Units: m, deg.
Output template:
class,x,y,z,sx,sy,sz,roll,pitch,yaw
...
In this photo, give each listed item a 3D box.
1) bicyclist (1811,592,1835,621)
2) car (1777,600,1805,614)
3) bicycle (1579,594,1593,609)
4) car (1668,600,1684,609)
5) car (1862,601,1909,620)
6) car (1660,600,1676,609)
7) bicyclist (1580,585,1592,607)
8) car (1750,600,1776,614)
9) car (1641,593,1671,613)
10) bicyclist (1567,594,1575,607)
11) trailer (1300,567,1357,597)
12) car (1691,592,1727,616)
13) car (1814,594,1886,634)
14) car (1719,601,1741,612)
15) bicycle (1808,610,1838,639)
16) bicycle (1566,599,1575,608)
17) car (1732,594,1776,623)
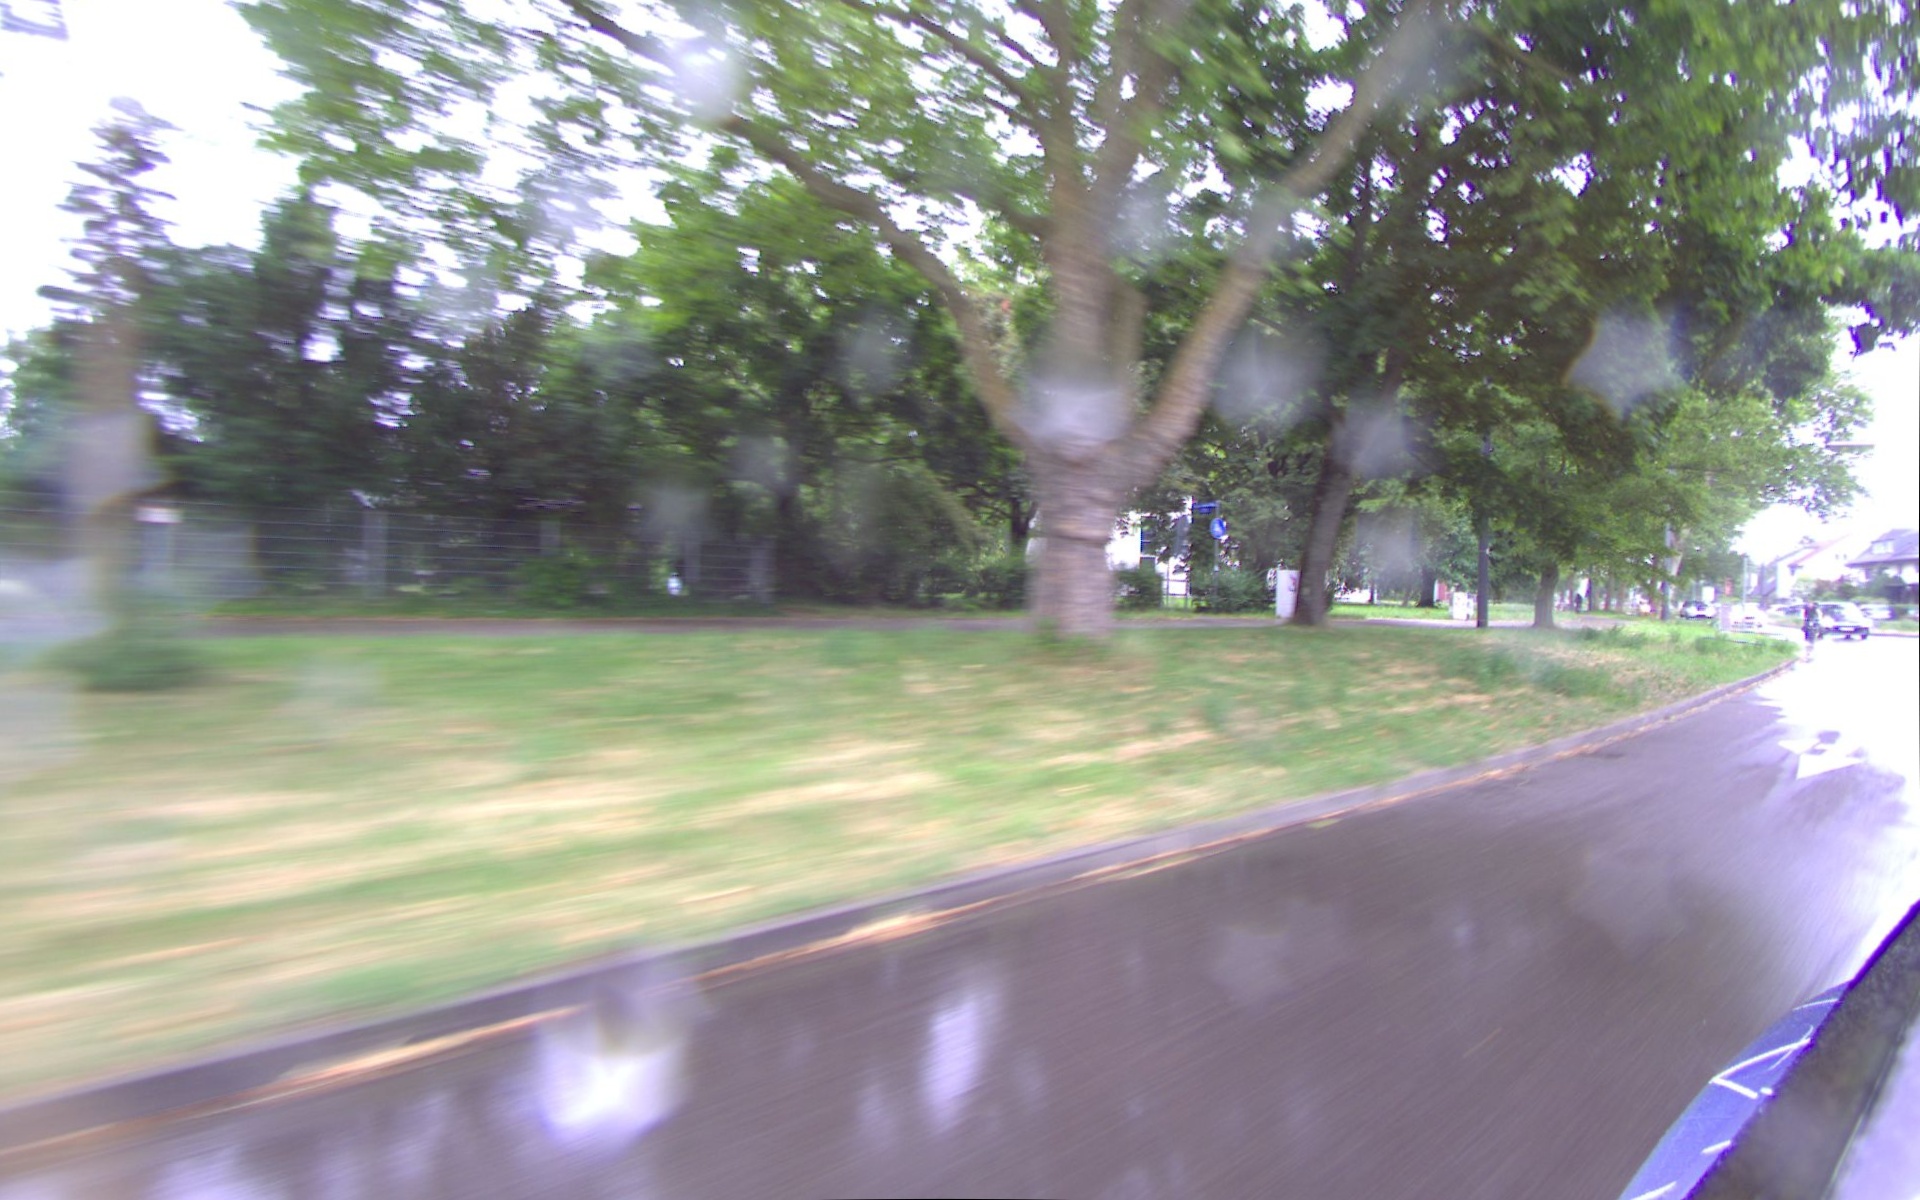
class,x,y,z,sx,sy,sz,roll,pitch,yaw
bicyclist,33.235,0.244,38.967,0.618,1.098,0.616,2,1,36
car,95.359,0.826,116.182,1.702,1.548,3.567,-2,-1,27
bicycle,51.414,0.139,83.075,0.710,1.156,1.945,2,2,38
car,121.948,0.736,172.348,1.743,1.535,3.817,-1,-1,27
car,81.331,0.916,88.975,1.982,1.634,4.637,0,0,29
car,123.606,0.775,176.621,1.743,1.535,3.817,-1,-1,27
bicyclist,51.401,-0.333,83.042,0.710,1.742,0.944,2,2,39
car,100.239,0.877,126.396,1.743,1.634,4.071,-1,-1,27
car,68.717,0.277,99.988,1.751,1.746,3.900,2,2,26
bicyclist,50.556,0.020,83.758,0.486,1.051,0.583,2,1,38
trailer,30.146,-1.476,82.849,3.937,2.337,1.896,2,1,-11
car,60.323,0.305,81.531,1.753,1.746,3.895,2,2,28
car,41.102,0.640,46.812,1.754,1.747,3.891,-1,-1,31
car,108.015,0.903,141.999,1.743,1.535,3.817,-1,-1,27
bicycle,33.193,0.939,38.942,0.655,1.026,2.228,2,2,35
bicycle,50.570,0.279,83.785,0.486,0.717,1.437,2,2,38
car,49.727,0.518,63.443,1.755,1.746,3.889,1,1,32
